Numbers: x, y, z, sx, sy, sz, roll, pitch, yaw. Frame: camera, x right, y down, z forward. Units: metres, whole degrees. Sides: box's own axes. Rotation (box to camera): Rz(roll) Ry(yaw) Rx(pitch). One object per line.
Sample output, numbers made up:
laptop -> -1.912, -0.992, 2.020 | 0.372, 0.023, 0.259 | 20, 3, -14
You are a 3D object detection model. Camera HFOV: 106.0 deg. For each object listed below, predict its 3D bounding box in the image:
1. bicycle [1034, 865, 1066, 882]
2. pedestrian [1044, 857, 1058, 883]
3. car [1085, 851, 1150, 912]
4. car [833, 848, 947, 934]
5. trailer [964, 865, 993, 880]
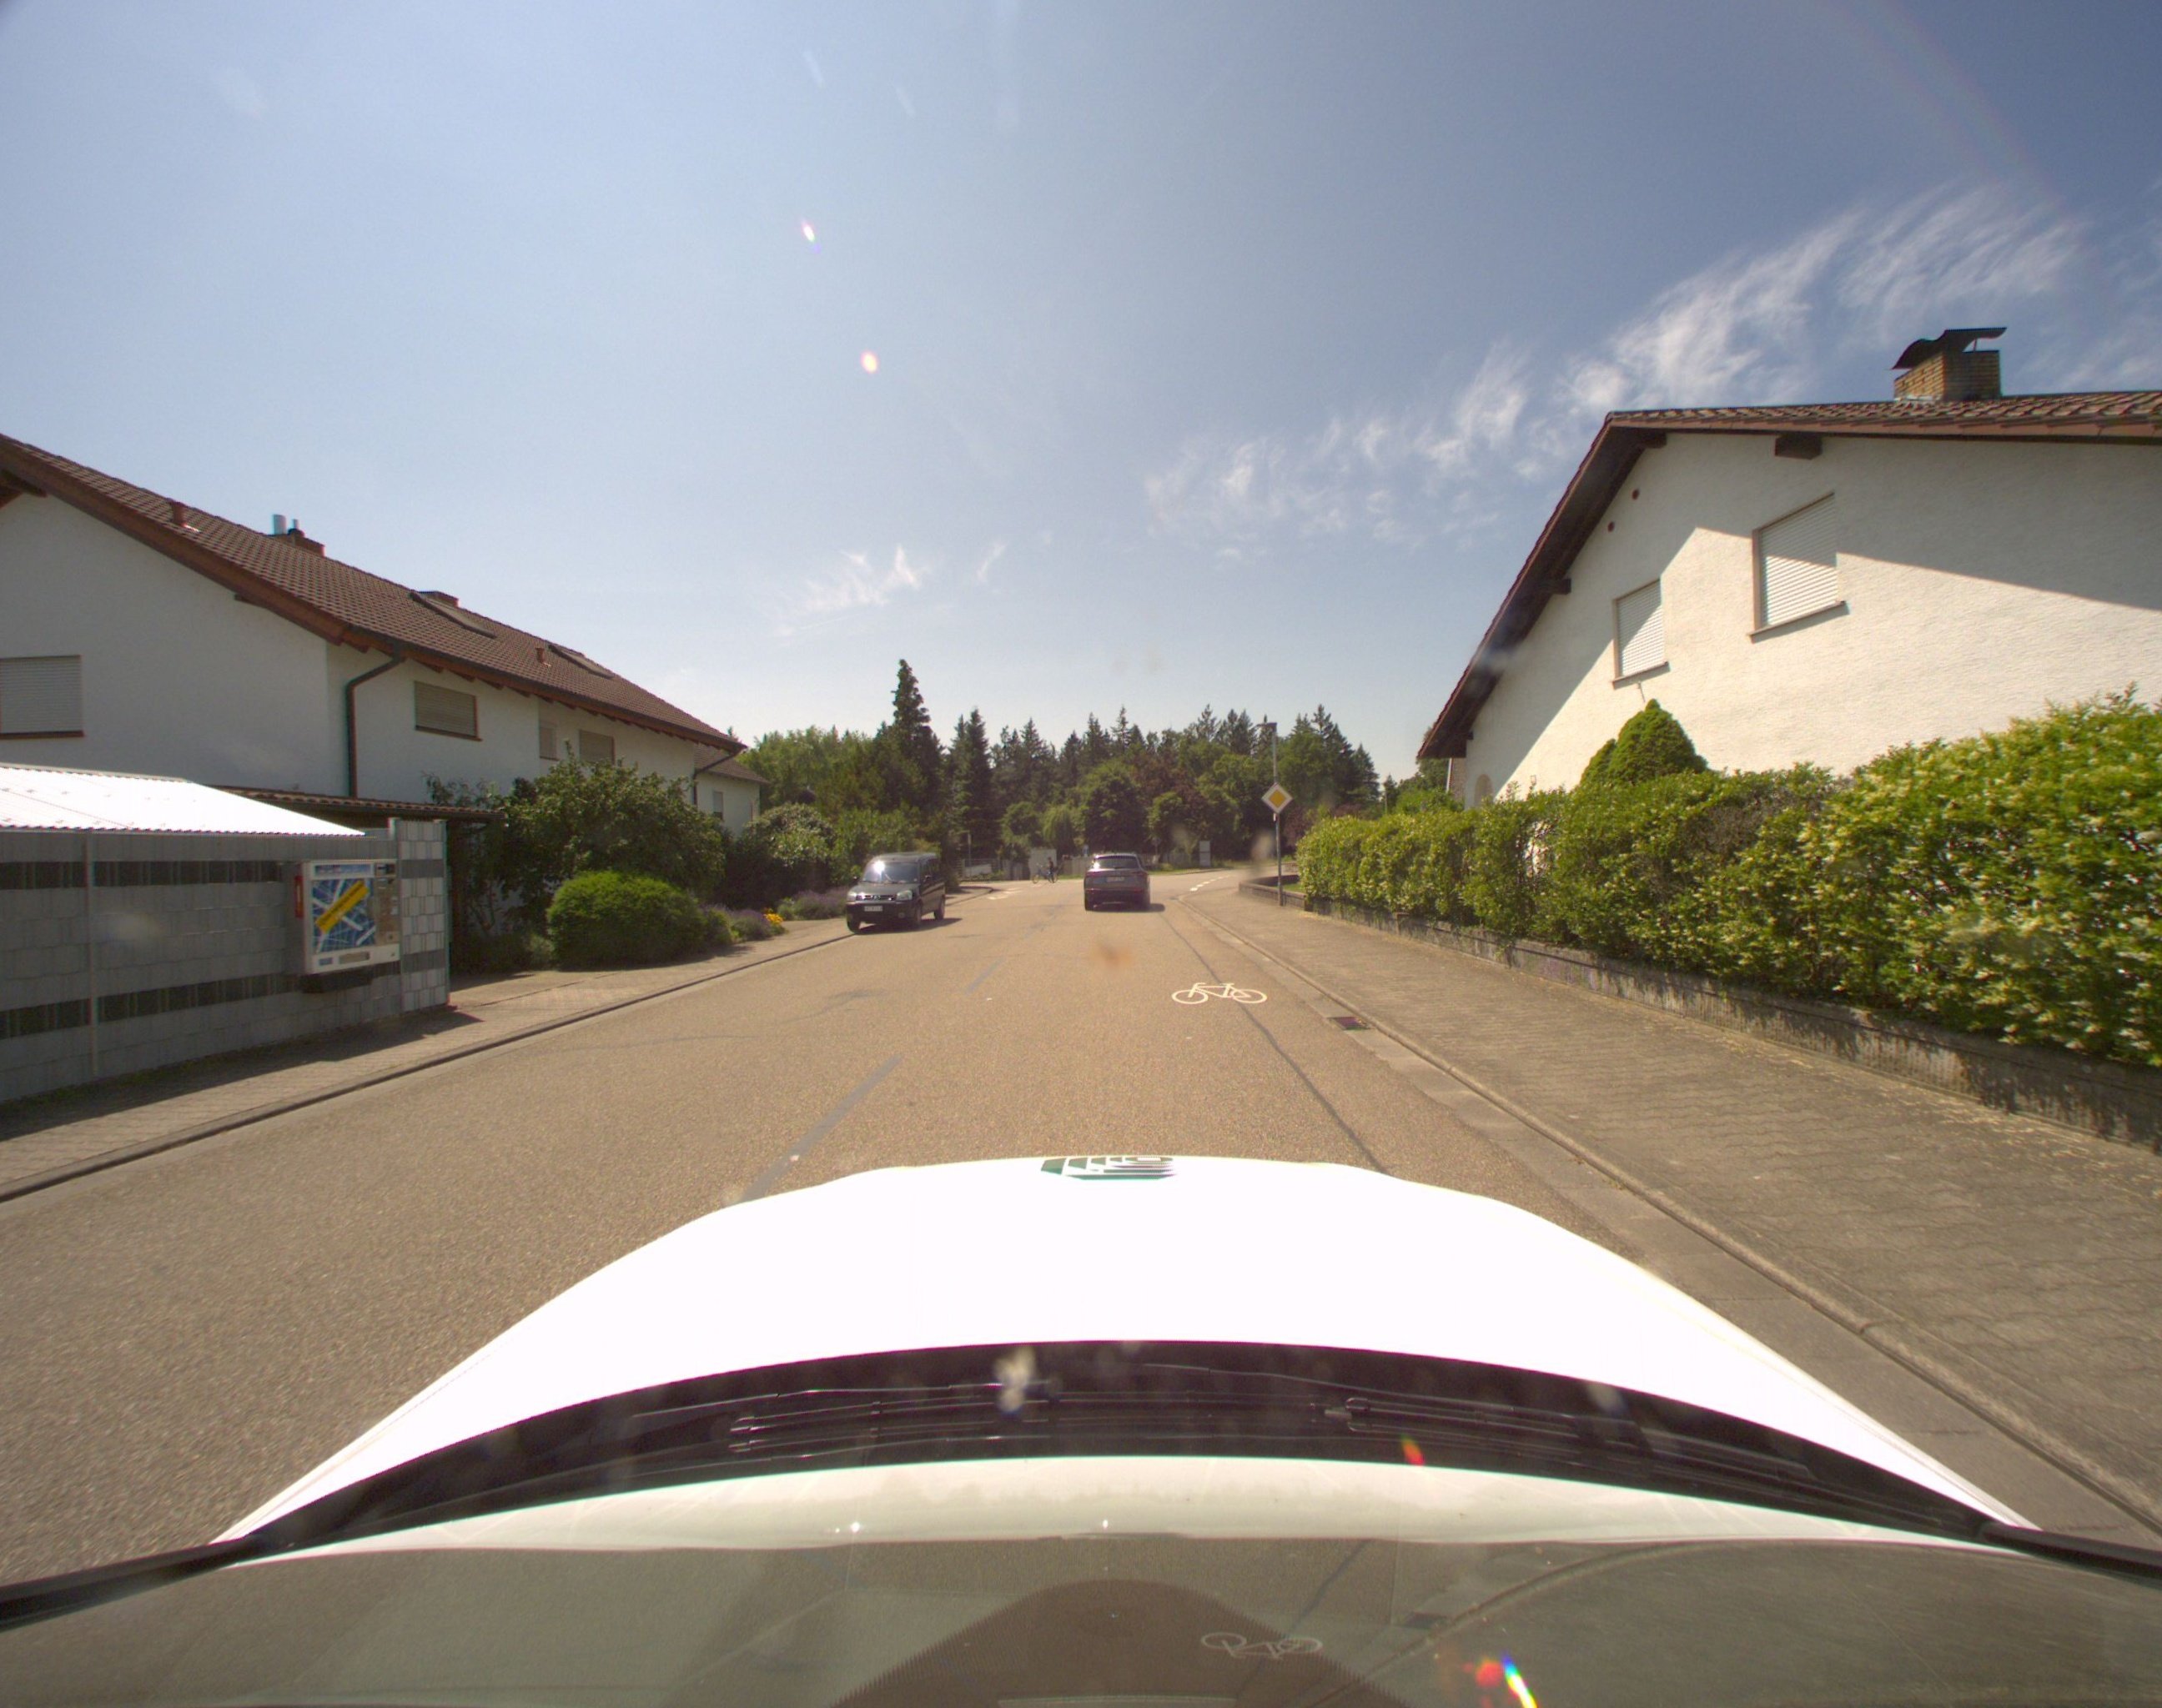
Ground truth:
bicycle -> -1.817, 1.143, 47.992 | 1.848, 0.964, 0.440 | -2, 0, -18
pedestrian -> -1.745, 0.918, 47.505 | 0.612, 1.501, 0.501 | -2, -1, -19
car -> 1.022, 0.747, 23.937 | 1.756, 1.618, 4.001 | -1, 0, 1
car -> -4.544, 0.819, 20.014 | 1.712, 1.846, 4.055 | -2, 0, 1
trailer -> -7.902, 1.409, 62.894 | 2.212, 1.084, 1.104 | -2, 0, -6
